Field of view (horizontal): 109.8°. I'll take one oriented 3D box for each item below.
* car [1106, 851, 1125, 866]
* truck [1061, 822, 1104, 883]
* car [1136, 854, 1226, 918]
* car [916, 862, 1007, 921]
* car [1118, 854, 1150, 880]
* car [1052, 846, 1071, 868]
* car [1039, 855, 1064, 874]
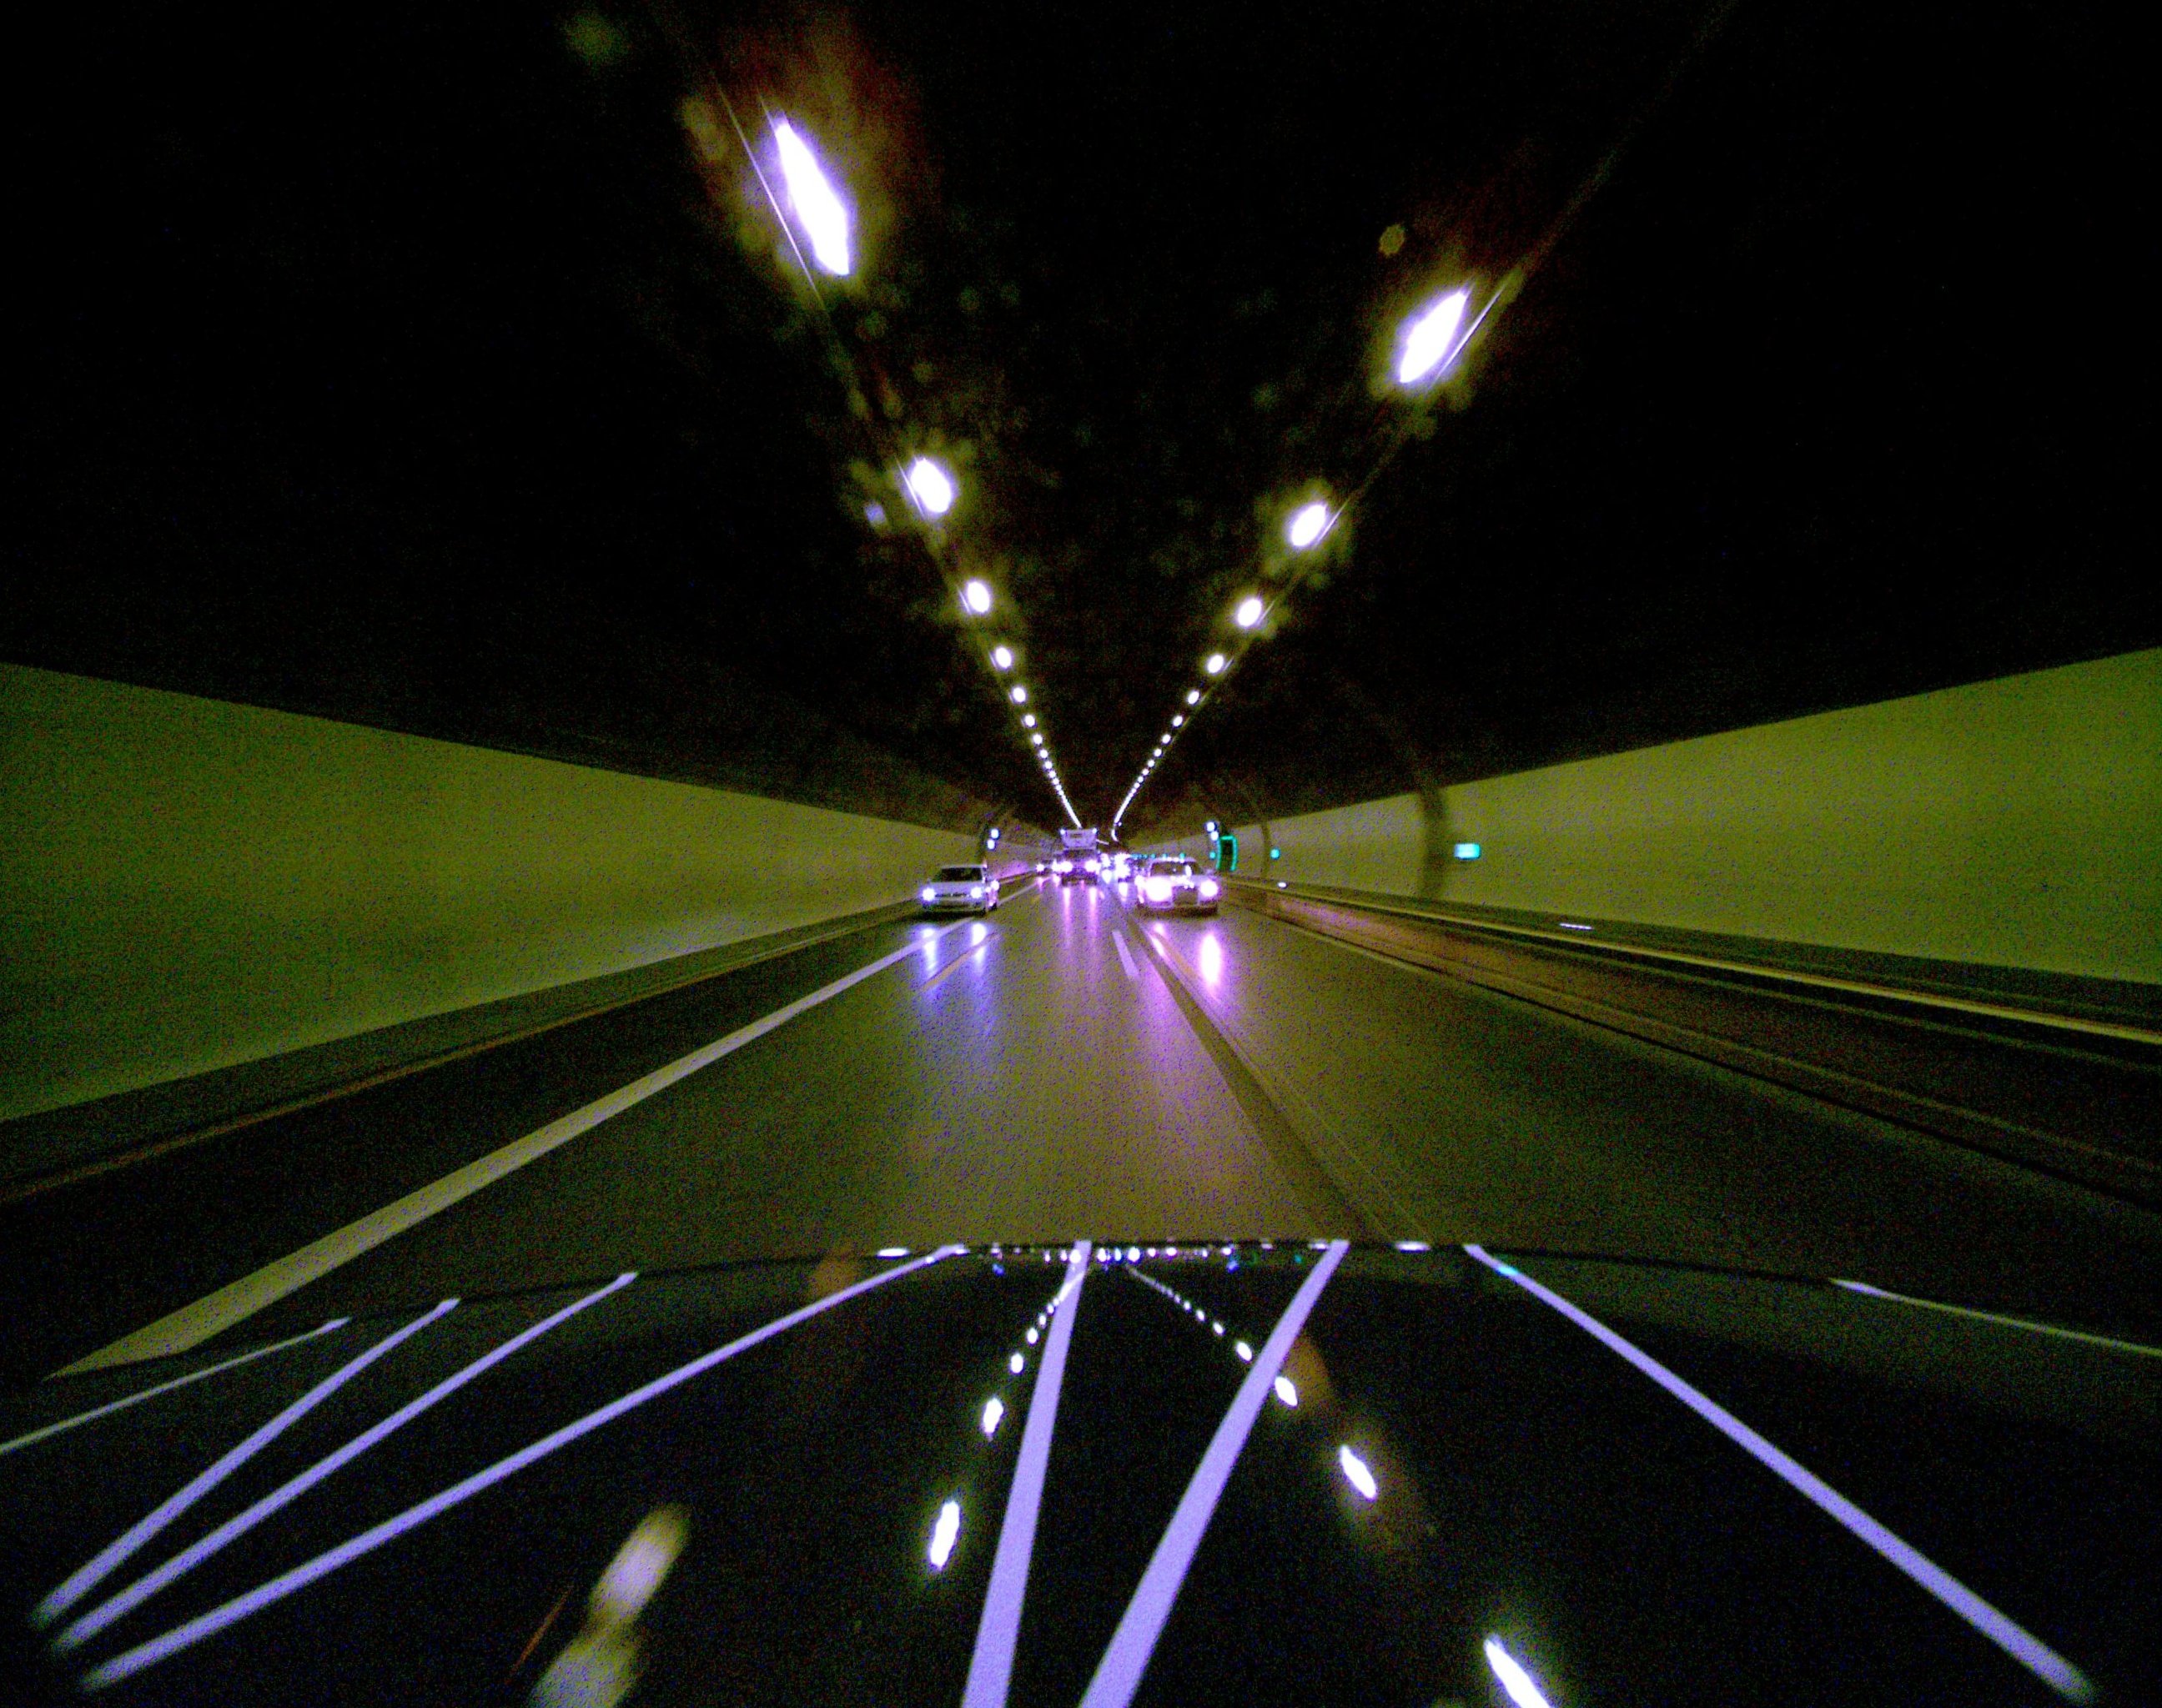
[{"bbox_3d":[4.098,0.501,90.693,1.958,1.528,4.757,-5,1,0],"label":"car"},{"bbox_3d":[0.106,-0.117,45.529,2.262,3.238,7.382,-2,0,0],"label":"truck"},{"bbox_3d":[2.579,0.784,20.728,1.908,1.476,4.944,-1,0,2],"label":"car"},{"bbox_3d":[-3.369,1.024,22.196,1.801,1.452,4.035,-2,0,2],"label":"car"},{"bbox_3d":[3.131,0.741,45.624,1.657,1.395,3.656,-2,0,0],"label":"car"},{"bbox_3d":[-2.493,0.351,97.617,2.124,2.629,6.229,-3,1,0],"label":"car"},{"bbox_3d":[-2.641,0.891,68.925,1.958,1.528,4.757,-3,1,0],"label":"car"}]
